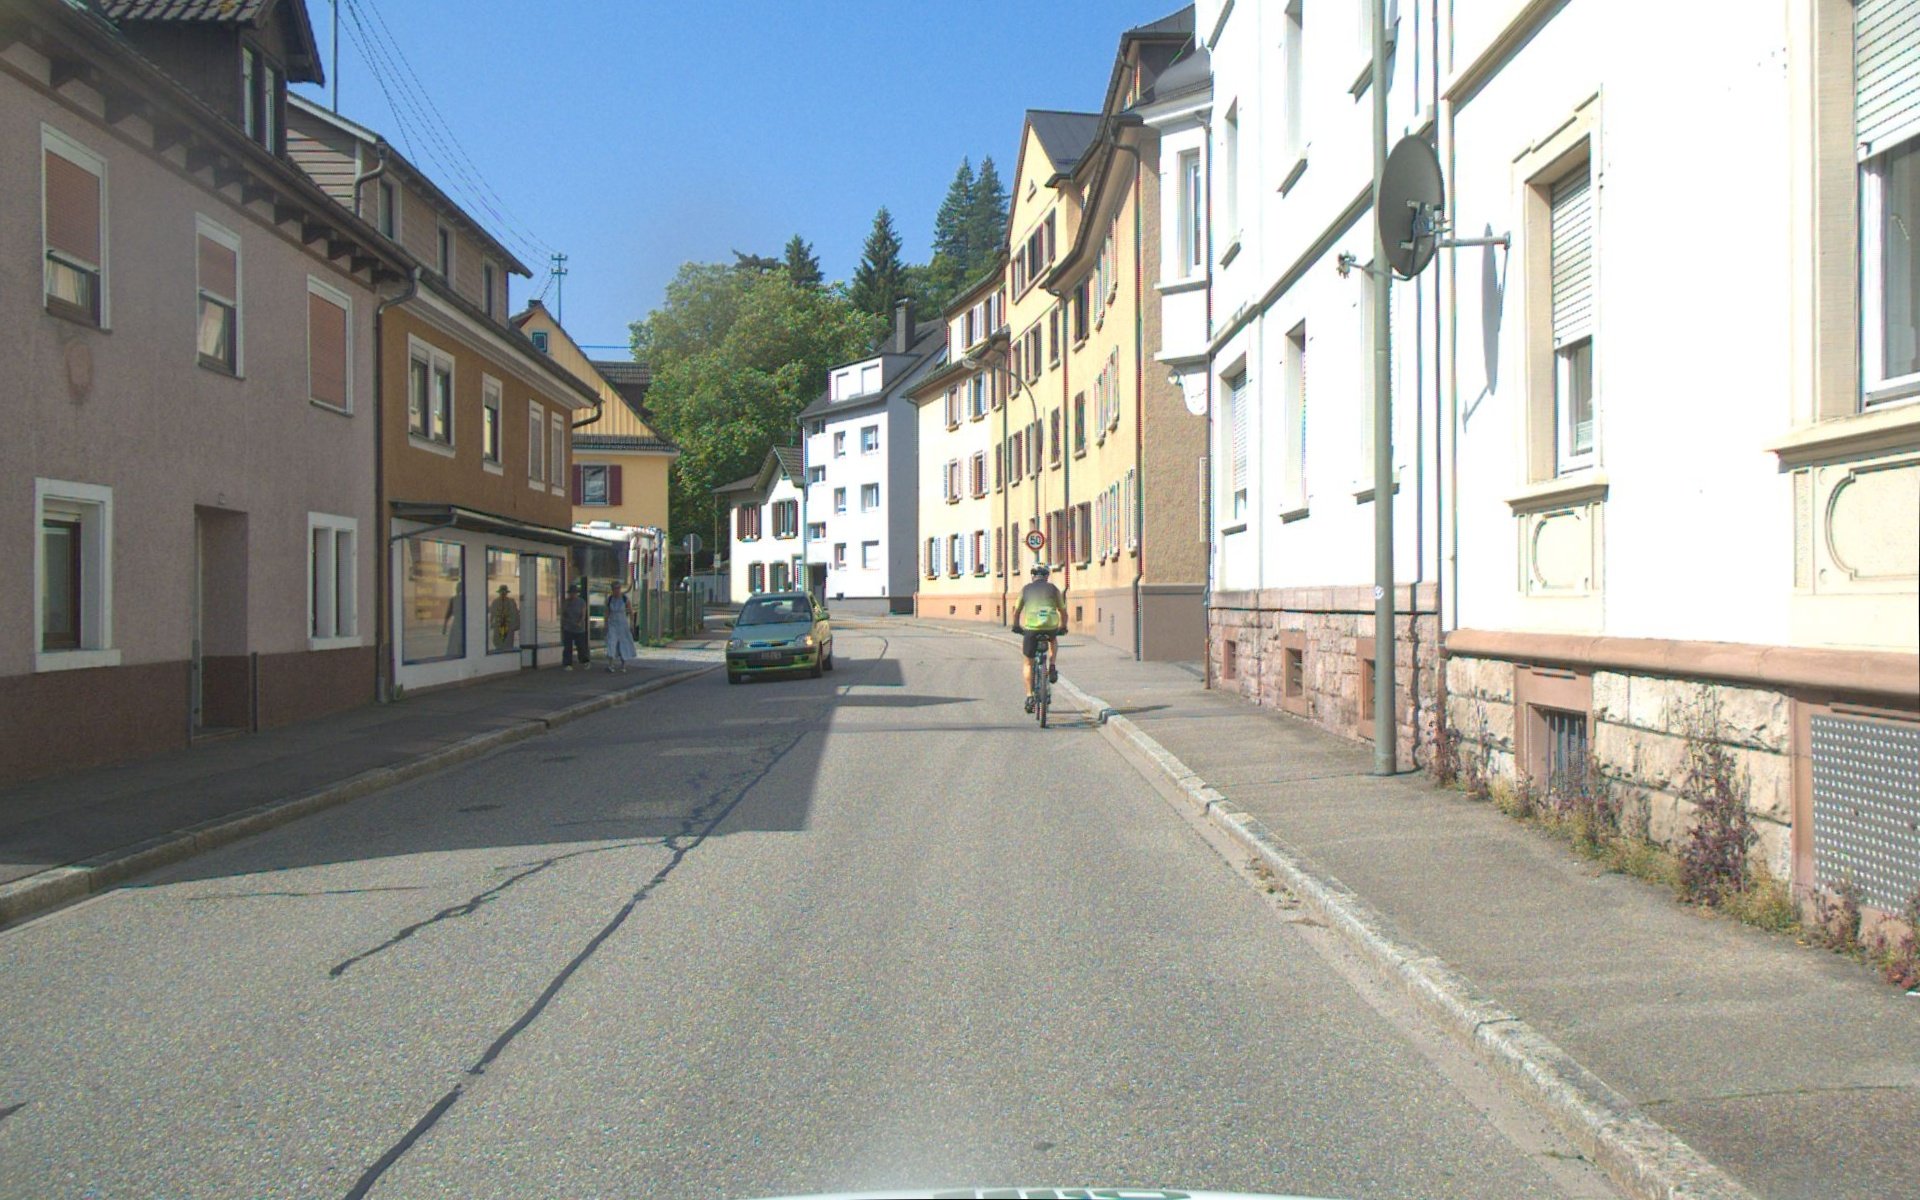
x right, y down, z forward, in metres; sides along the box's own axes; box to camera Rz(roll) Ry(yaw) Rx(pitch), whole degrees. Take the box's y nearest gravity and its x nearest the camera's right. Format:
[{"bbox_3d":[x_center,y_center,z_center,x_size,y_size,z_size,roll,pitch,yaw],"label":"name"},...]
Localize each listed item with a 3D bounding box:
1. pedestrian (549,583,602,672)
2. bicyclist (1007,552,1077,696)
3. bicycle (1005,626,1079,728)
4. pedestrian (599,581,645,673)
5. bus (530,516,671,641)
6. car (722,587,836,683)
[{"bbox_3d":[-7.110,0.493,30.598,0.720,1.592,0.824,3,0,-1],"label":"pedestrian"},{"bbox_3d":[0.904,0.259,18.399,0.672,1.558,0.715,-1,0,-3],"label":"bicyclist"},{"bbox_3d":[0.901,0.837,18.455,0.684,1.053,1.470,0,1,-3],"label":"bicycle"},{"bbox_3d":[-6.235,0.487,30.542,0.626,1.654,0.777,3,0,-1],"label":"pedestrian"},{"bbox_3d":[-10.414,-0.604,48.850,2.765,3.284,9.028,1,0,-4],"label":"bus"},{"bbox_3d":[-3.118,0.569,29.115,1.564,1.490,3.659,-3,0,-1],"label":"car"}]
